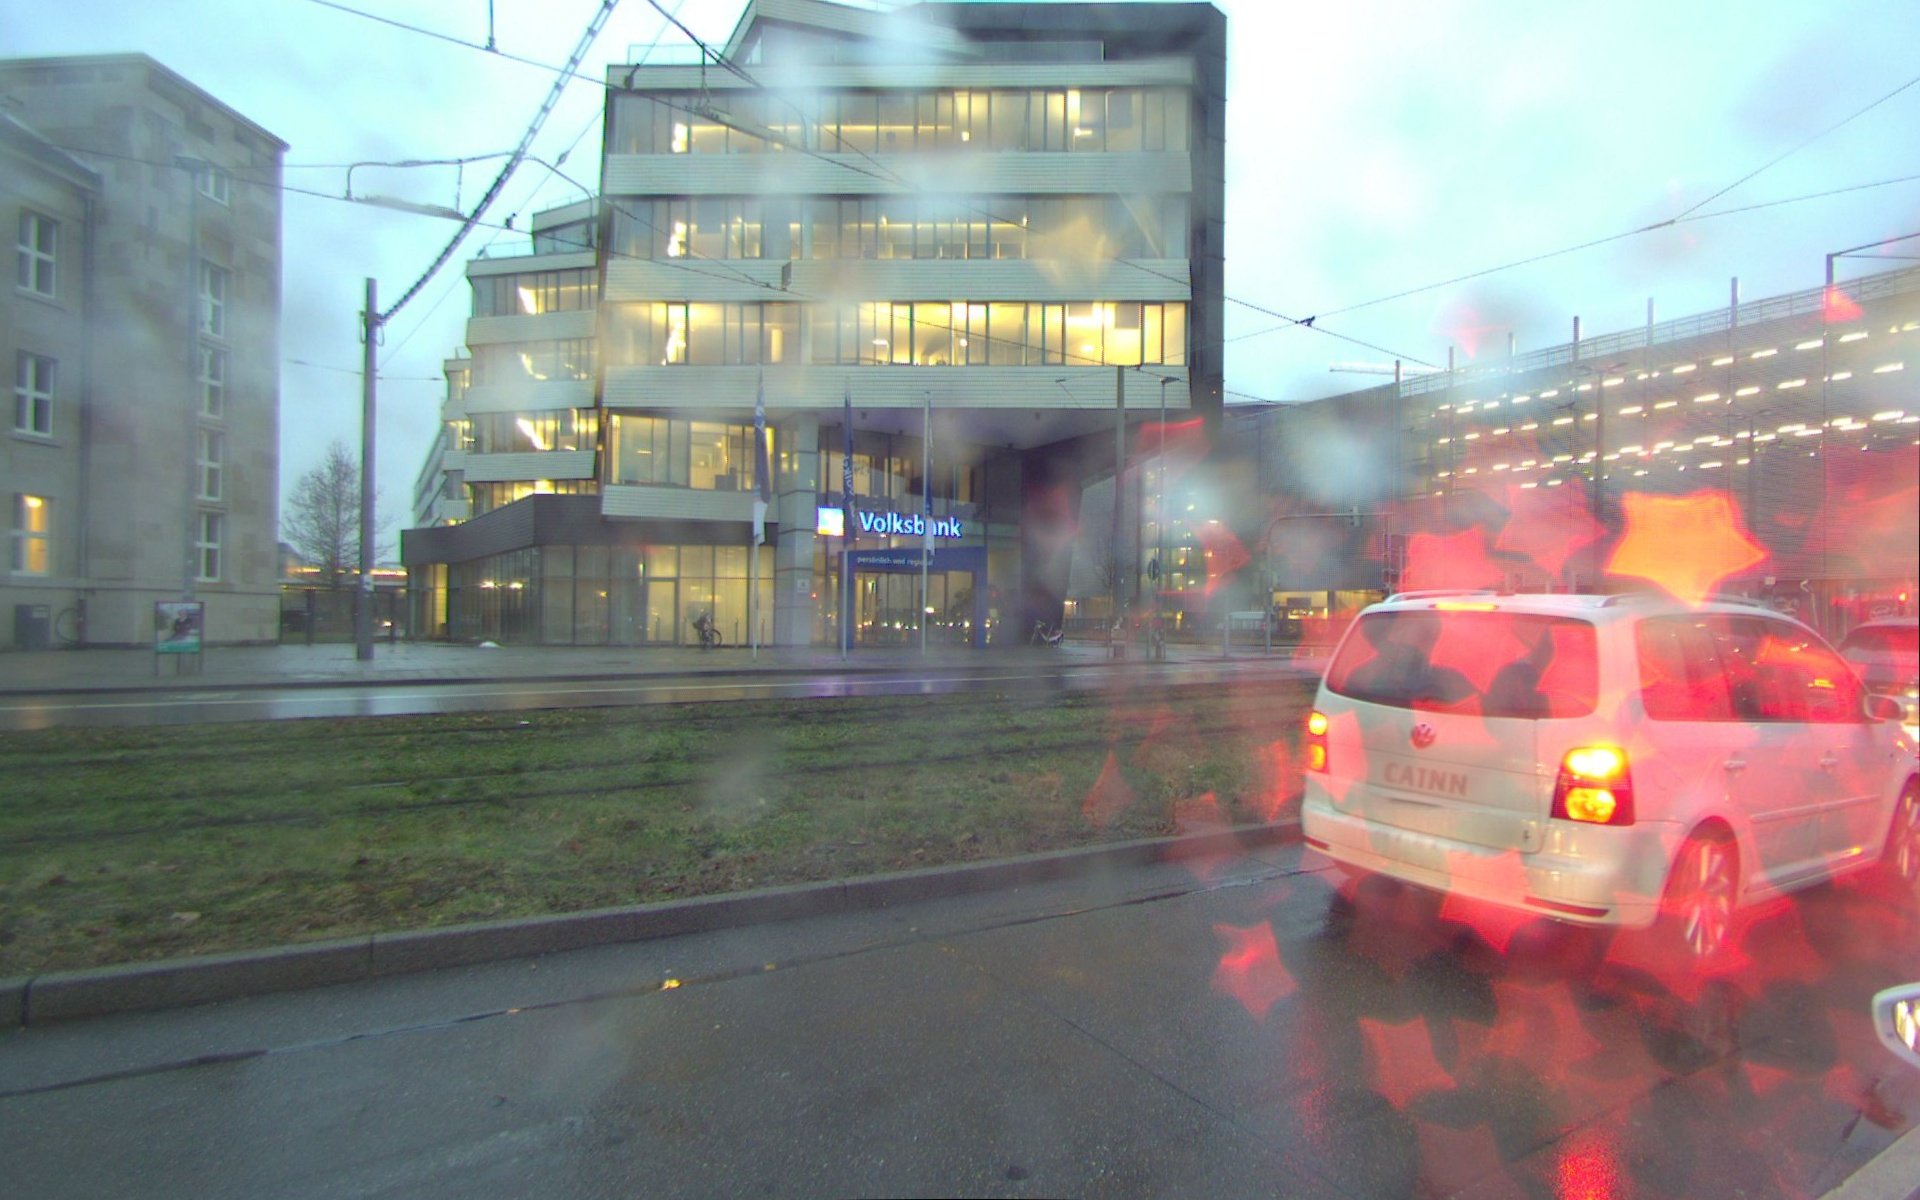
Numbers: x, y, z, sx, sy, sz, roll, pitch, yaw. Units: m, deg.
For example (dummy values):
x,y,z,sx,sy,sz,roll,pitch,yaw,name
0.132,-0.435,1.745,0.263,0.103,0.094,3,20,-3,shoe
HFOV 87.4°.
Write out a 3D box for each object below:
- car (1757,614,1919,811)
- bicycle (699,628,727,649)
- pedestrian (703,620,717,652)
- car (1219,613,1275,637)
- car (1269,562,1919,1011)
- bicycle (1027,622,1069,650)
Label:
x,y,z,sx,sy,sz,roll,pitch,yaw,name
9.311,0.959,9.462,3.959,1.595,1.742,1,-1,-34,car
-8.623,1.346,35.064,0.896,0.724,0.483,1,-1,-10,bicycle
-8.542,1.221,34.365,0.380,1.103,0.325,0,-1,5,pedestrian
25.498,2.194,89.363,1.782,2.027,4.806,1,-1,-36,car
3.774,0.697,5.567,4.102,1.682,1.660,1,1,-33,car
3.521,1.437,40.108,1.588,1.105,0.553,1,-1,-23,bicycle
